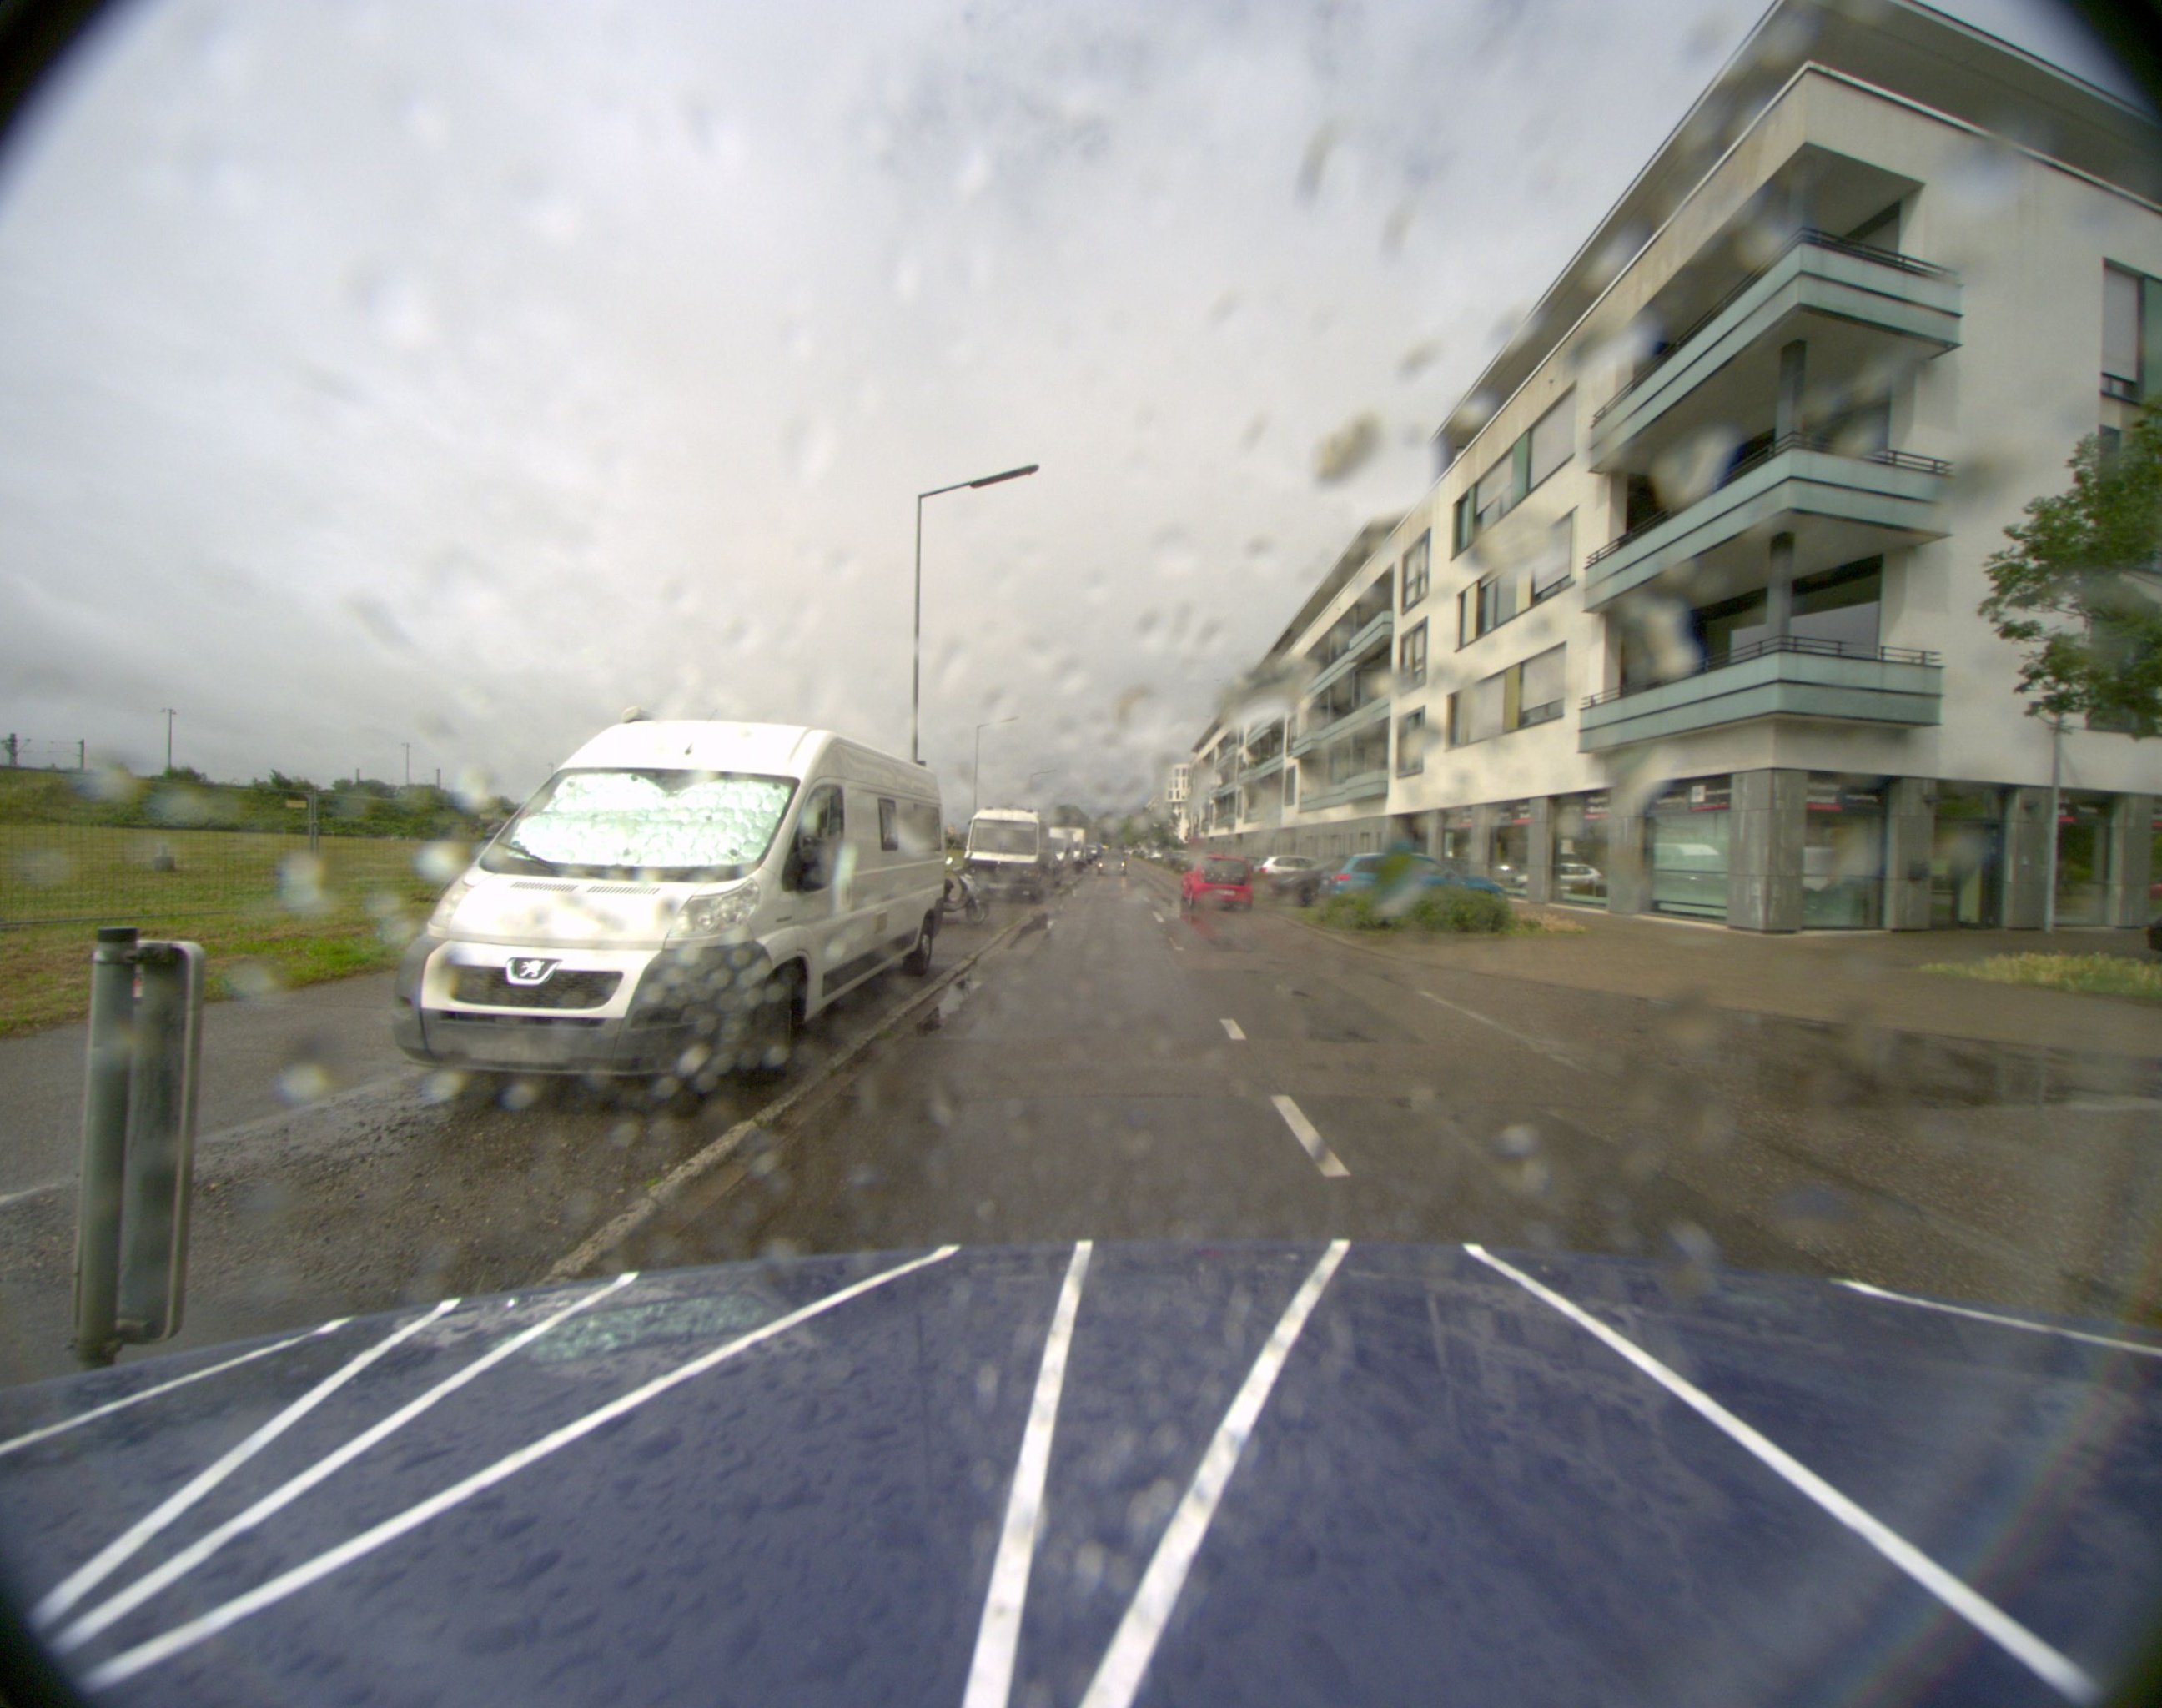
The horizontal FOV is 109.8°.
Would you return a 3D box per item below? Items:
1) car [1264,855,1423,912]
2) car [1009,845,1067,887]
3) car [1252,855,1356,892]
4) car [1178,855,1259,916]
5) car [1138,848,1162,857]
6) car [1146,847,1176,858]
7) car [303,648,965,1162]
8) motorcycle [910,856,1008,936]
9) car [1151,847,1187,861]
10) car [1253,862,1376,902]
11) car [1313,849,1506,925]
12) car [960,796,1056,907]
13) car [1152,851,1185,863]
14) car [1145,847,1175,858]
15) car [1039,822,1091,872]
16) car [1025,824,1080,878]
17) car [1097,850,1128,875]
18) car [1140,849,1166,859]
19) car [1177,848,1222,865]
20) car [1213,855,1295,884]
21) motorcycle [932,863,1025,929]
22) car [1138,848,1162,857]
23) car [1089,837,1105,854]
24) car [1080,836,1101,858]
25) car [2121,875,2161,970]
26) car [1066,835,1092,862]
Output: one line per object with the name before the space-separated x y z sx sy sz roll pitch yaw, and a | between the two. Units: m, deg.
car | 7.844 0.861 22.998 4.182 1.540 1.859 -1 1 2
car | -1.669 0.440 30.938 1.733 1.485 4.442 3 1 4
car | 8.918 0.765 30.560 3.667 1.369 1.686 -1 0 0
car | 3.697 0.799 20.916 1.661 1.460 3.389 1 1 2
car | 11.340 -0.209 124.240 3.798 1.363 1.744 -1 1 2
car | 10.579 -0.184 100.355 3.798 1.363 1.744 -1 1 2
car | -2.720 0.201 6.761 2.097 2.459 5.947 3 1 2
motorcycle | -2.308 0.779 14.288 1.650 1.367 0.720 4 1 -18
car | 9.518 0.027 82.345 3.798 1.363 1.744 -1 1 2
car | 7.700 0.910 25.295 3.613 1.176 1.539 -1 1 2
car | 7.634 0.750 17.962 3.818 1.624 1.755 -1 1 5
car | -2.083 -0.105 23.324 2.149 2.867 5.275 4 1 1
car | 10.371 0.379 90.355 3.798 1.363 1.744 -1 1 2
car | 10.673 -0.165 102.819 3.798 1.363 1.744 -1 1 2
car | -0.941 -0.475 49.699 2.476 2.939 6.888 3 1 5
car | -1.378 -0.162 39.755 2.073 2.514 6.659 3 0 4
car | 2.074 0.545 48.759 1.873 1.510 4.359 -1 0 4
car | 10.979 -0.058 115.328 3.798 1.363 1.744 -1 1 2
car | 10.545 0.224 67.744 3.798 1.363 1.744 -1 1 2
car | 8.560 0.773 37.743 3.739 1.365 1.645 0 1 3
motorcycle | -2.071 0.852 15.347 1.678 1.188 0.648 4 2 -20
car | 11.590 -0.269 127.574 3.798 1.363 1.744 -1 1 2
car | 2.147 -1.116 101.255 1.998 2.228 4.564 2 1 3
car | 1.027 -0.748 80.011 1.998 2.228 4.564 2 1 3
car | 17.456 1.089 9.950 1.644 1.389 4.181 -1 2 -15
car | -0.152 -0.515 67.139 1.998 2.228 4.564 2 1 3
